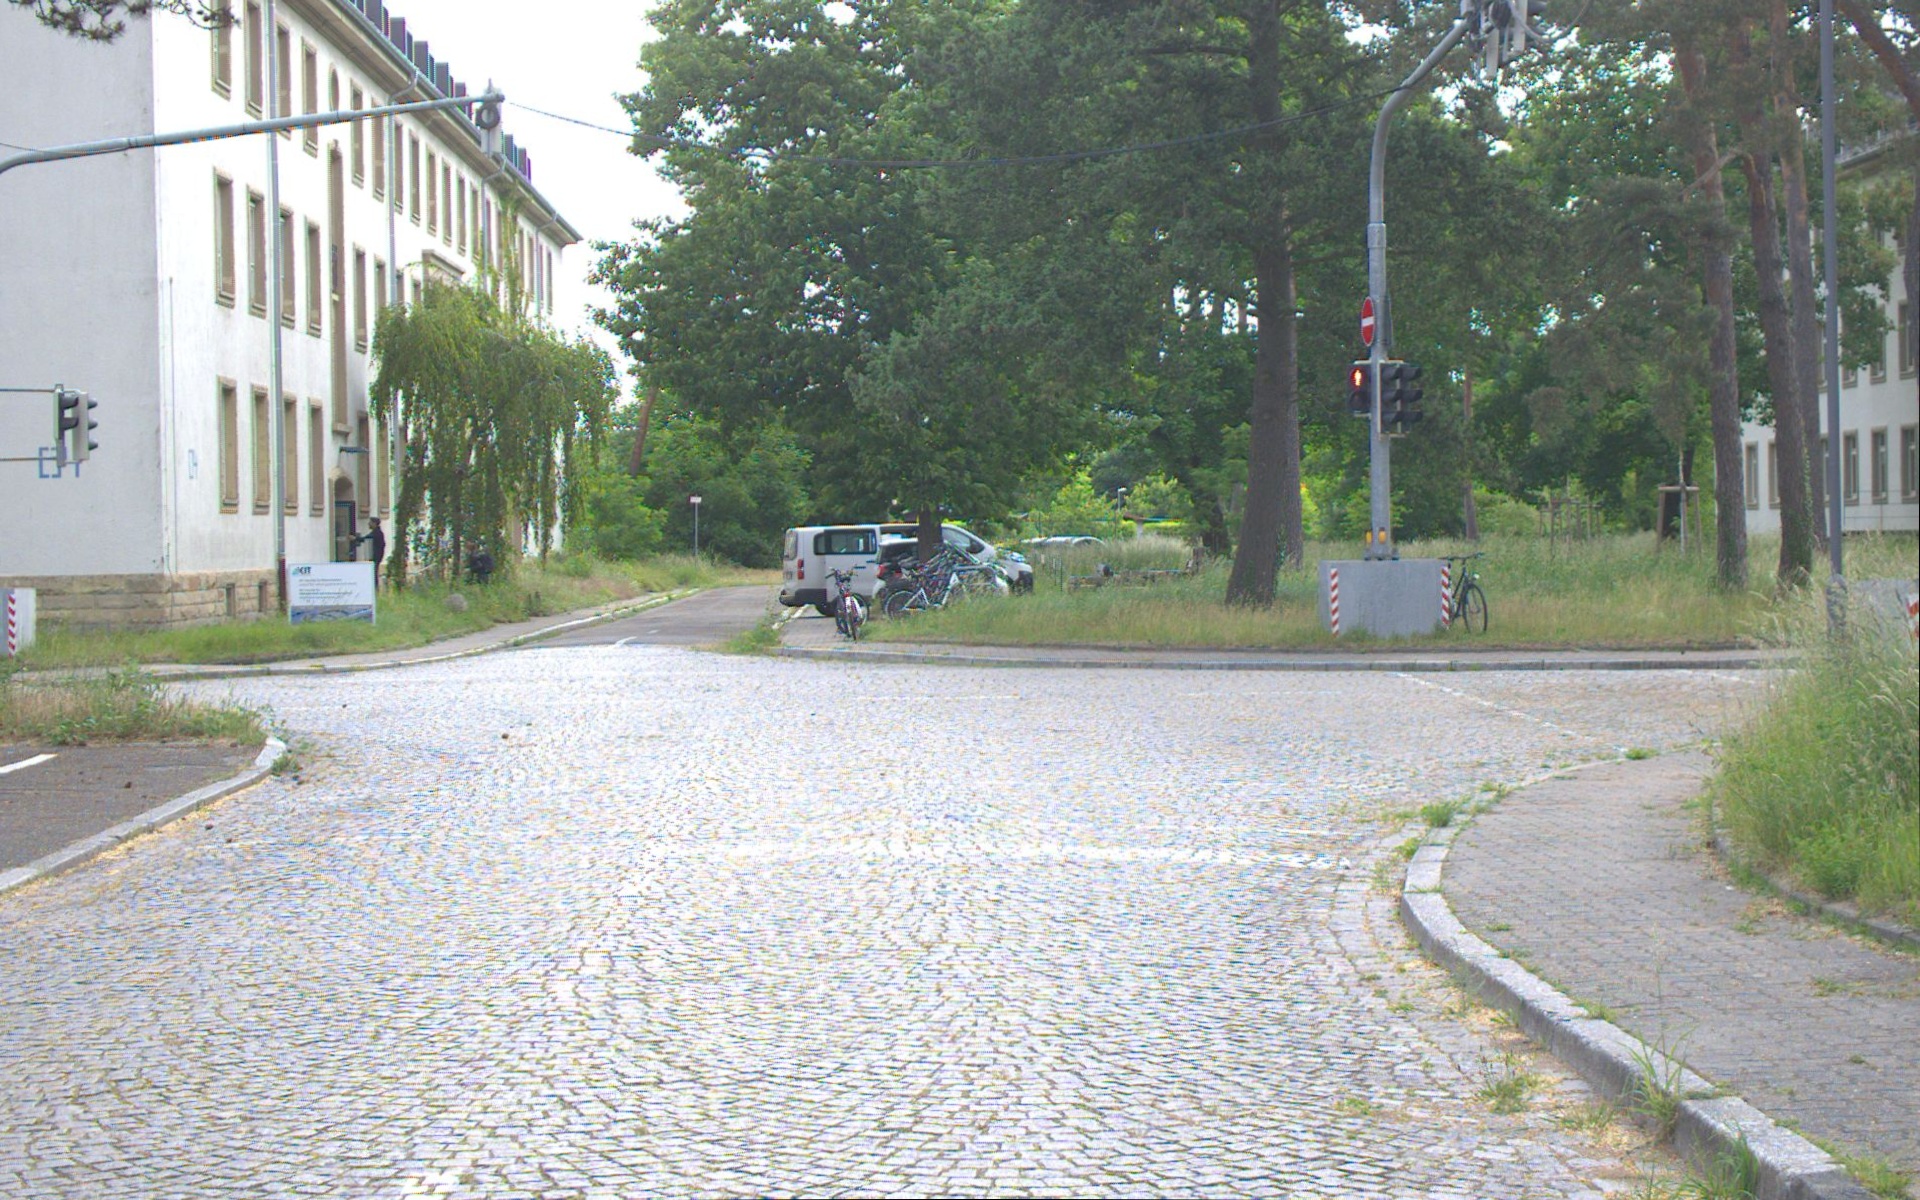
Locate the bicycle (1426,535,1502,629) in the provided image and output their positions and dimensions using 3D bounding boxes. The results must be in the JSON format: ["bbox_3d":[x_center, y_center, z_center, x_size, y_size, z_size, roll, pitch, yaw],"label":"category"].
[{"bbox_3d":[6.144,-0.230,41.993,0.586,1.102,1.962,-1,1,-1],"label":"bicycle"}]

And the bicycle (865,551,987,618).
[{"bbox_3d":[-0.551,-0.261,56.127,1.955,1.066,0.588,-1,1,-31],"label":"bicycle"}]

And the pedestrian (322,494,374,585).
[{"bbox_3d":[-12.384,-1.228,69.562,0.774,1.831,0.741,-2,1,-32],"label":"pedestrian"}]

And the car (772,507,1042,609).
[{"bbox_3d":[-1.131,-0.886,72.081,5.359,1.918,2.025,-2,1,-10],"label":"car"}]

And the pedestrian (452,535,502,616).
[{"bbox_3d":[-9.678,-0.494,68.855,0.774,1.613,0.740,-1,1,10],"label":"pedestrian"}]

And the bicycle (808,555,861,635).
[{"bbox_3d":[-1.865,-0.088,50.795,0.603,1.128,1.962,-1,1,-7],"label":"bicycle"}]

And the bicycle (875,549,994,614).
[{"bbox_3d":[-0.437,-0.327,58.832,1.955,1.066,0.588,-1,1,-26],"label":"bicycle"}]

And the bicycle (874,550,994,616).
[{"bbox_3d":[-0.431,-0.287,57.478,1.955,1.066,0.588,-1,1,-31],"label":"bicycle"}]

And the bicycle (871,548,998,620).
[{"bbox_3d":[-0.410,-0.257,54.645,1.954,1.113,0.588,-1,1,-8],"label":"bicycle"}]

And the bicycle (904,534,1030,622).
[{"bbox_3d":[0.110,-0.359,55.482,1.954,1.379,0.588,-1,1,-8],"label":"bicycle"}]

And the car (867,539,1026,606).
[{"bbox_3d":[-0.277,-0.554,68.723,3.005,1.264,1.535,-1,1,-7],"label":"car"}]

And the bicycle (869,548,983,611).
[{"bbox_3d":[-0.597,-0.371,61.162,1.955,1.066,0.588,-1,1,-26],"label":"bicycle"}]

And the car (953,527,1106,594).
[{"bbox_3d":[1.514,-0.879,76.002,3.231,1.411,1.725,-1,1,-4],"label":"car"}]

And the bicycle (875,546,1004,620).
[{"bbox_3d":[-0.332,-0.268,54.012,1.954,1.128,0.588,-1,1,-8],"label":"bicycle"}]
